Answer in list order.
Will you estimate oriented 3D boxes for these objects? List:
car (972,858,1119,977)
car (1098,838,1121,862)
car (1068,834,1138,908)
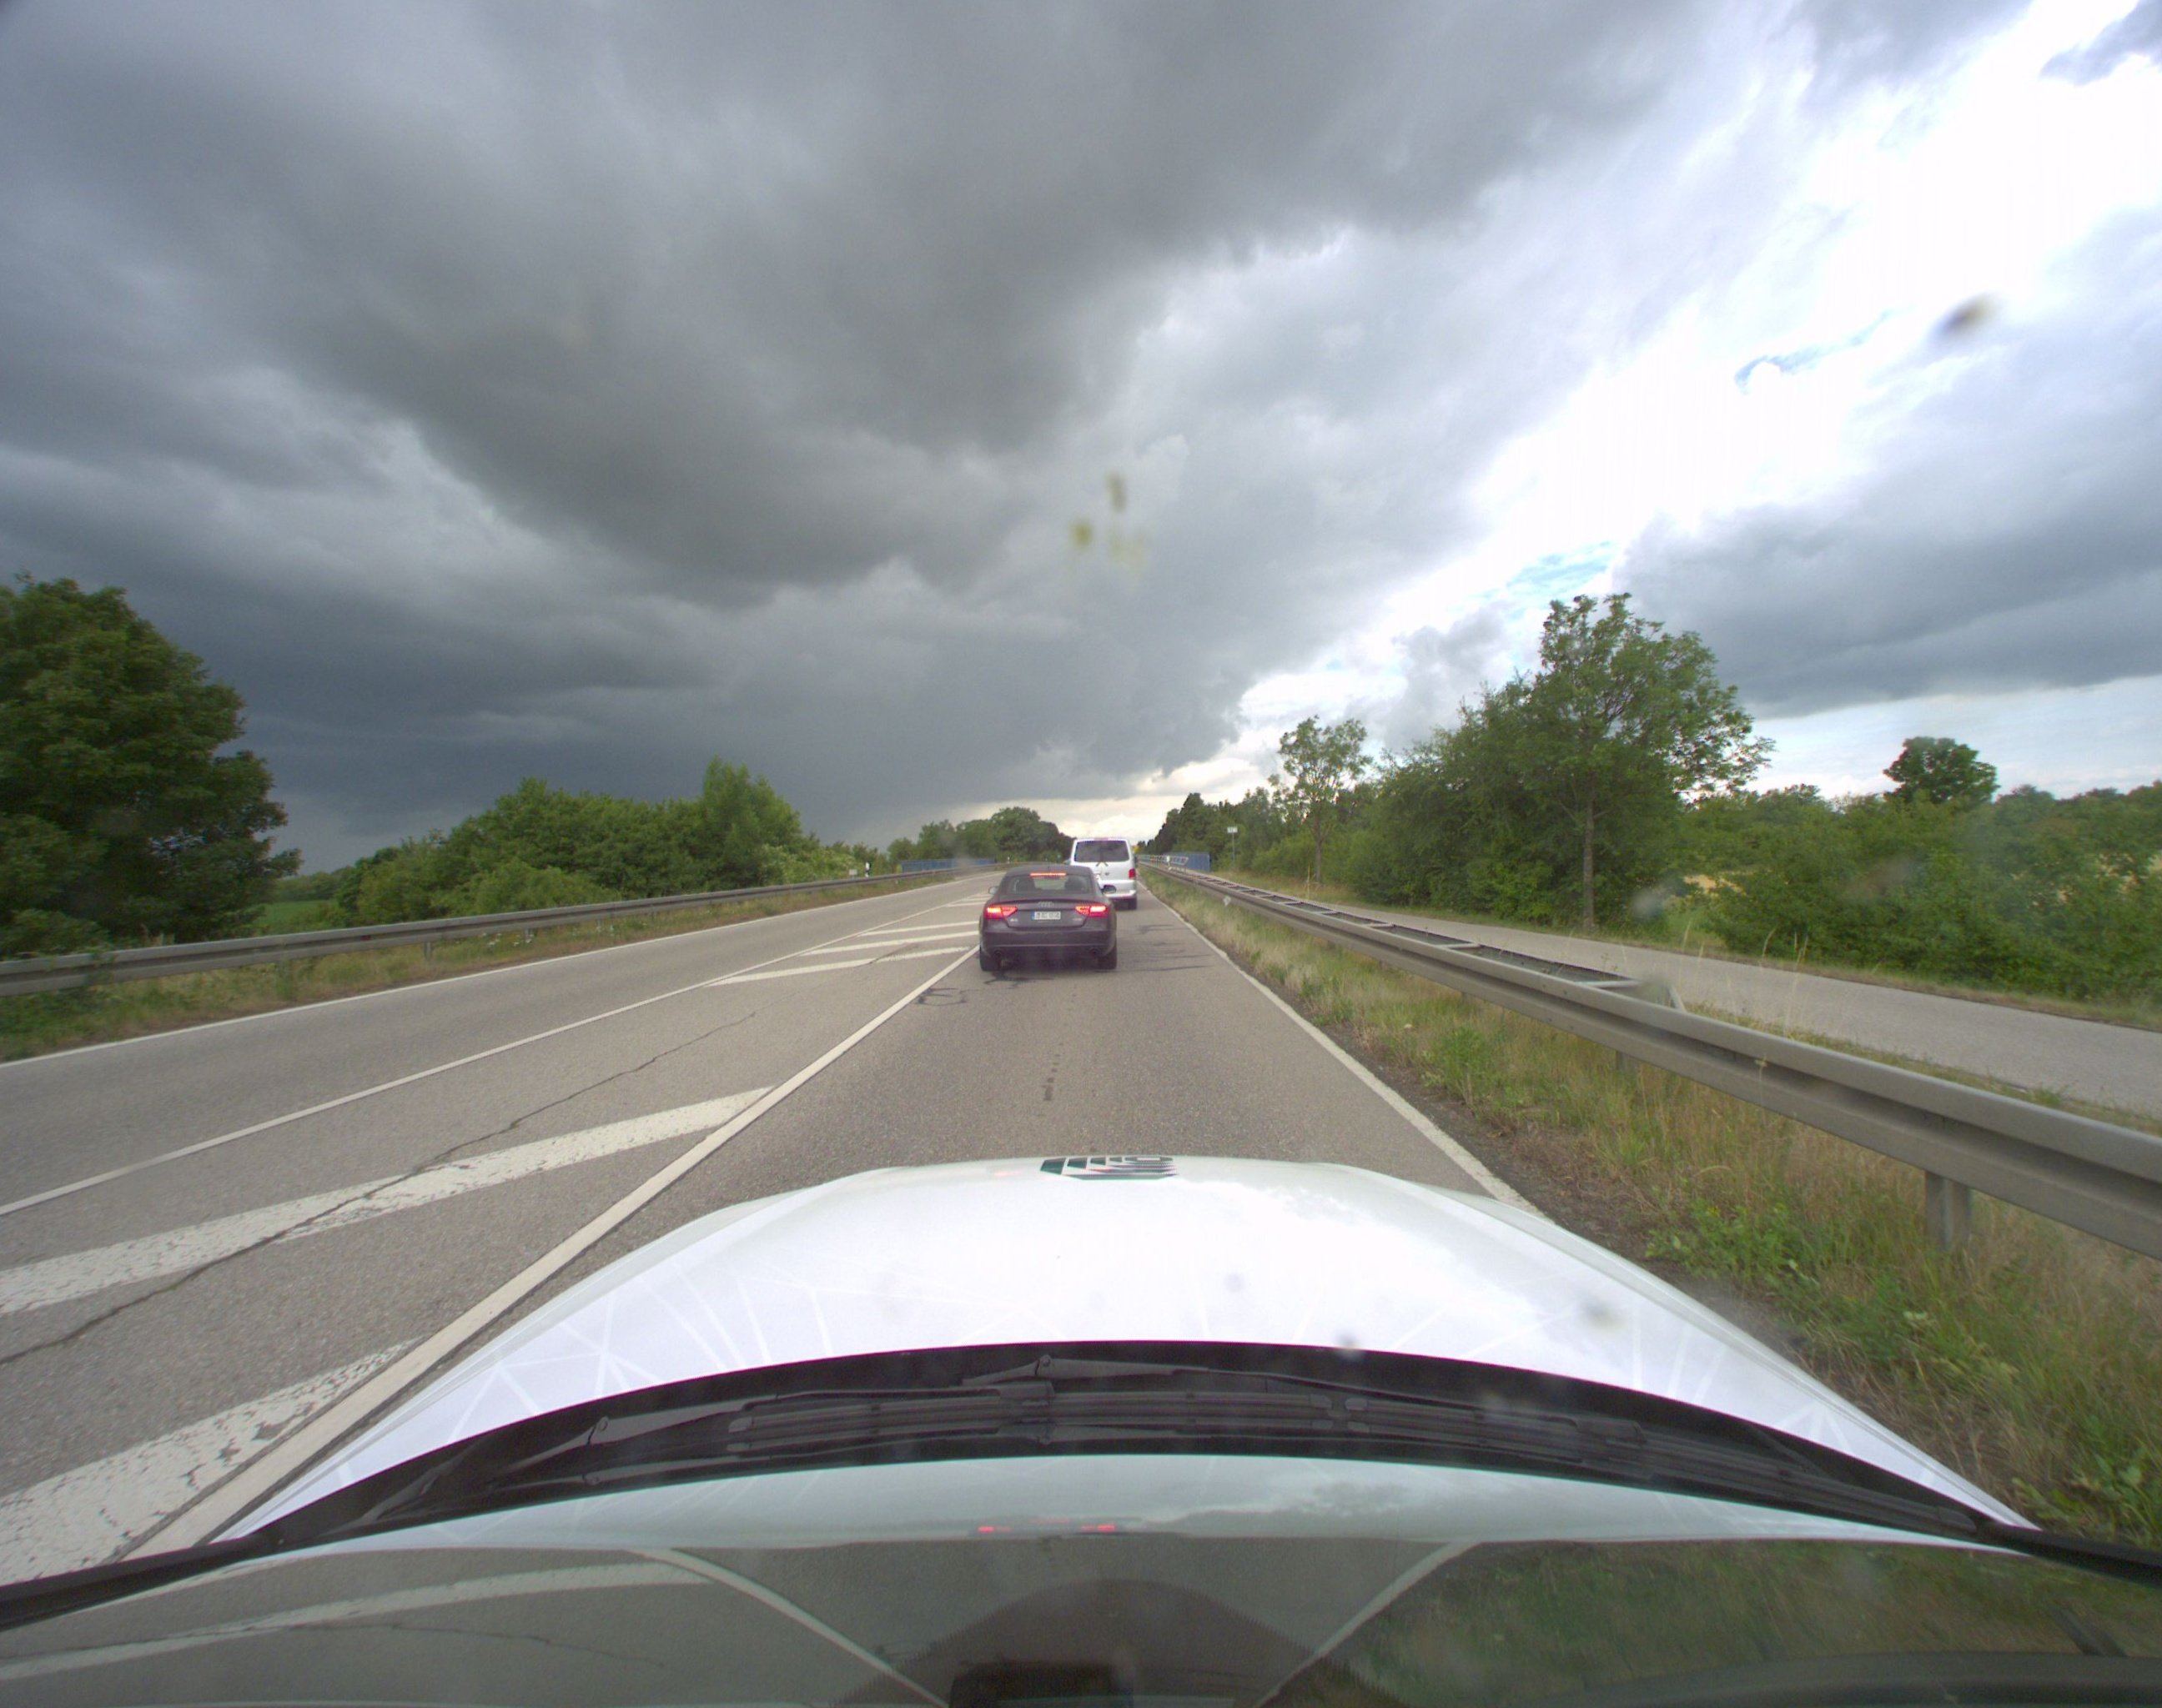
[{"bbox_3d":[-0.377,0.793,11.929,1.779,1.424,4.001,-1,-1,1],"label":"car"},{"bbox_3d":[3.117,-0.442,89.106,2.438,2.504,5.044,-1,0,2],"label":"car"},{"bbox_3d":[0.632,0.464,23.066,1.779,1.890,4.001,-1,-1,1],"label":"car"}]
